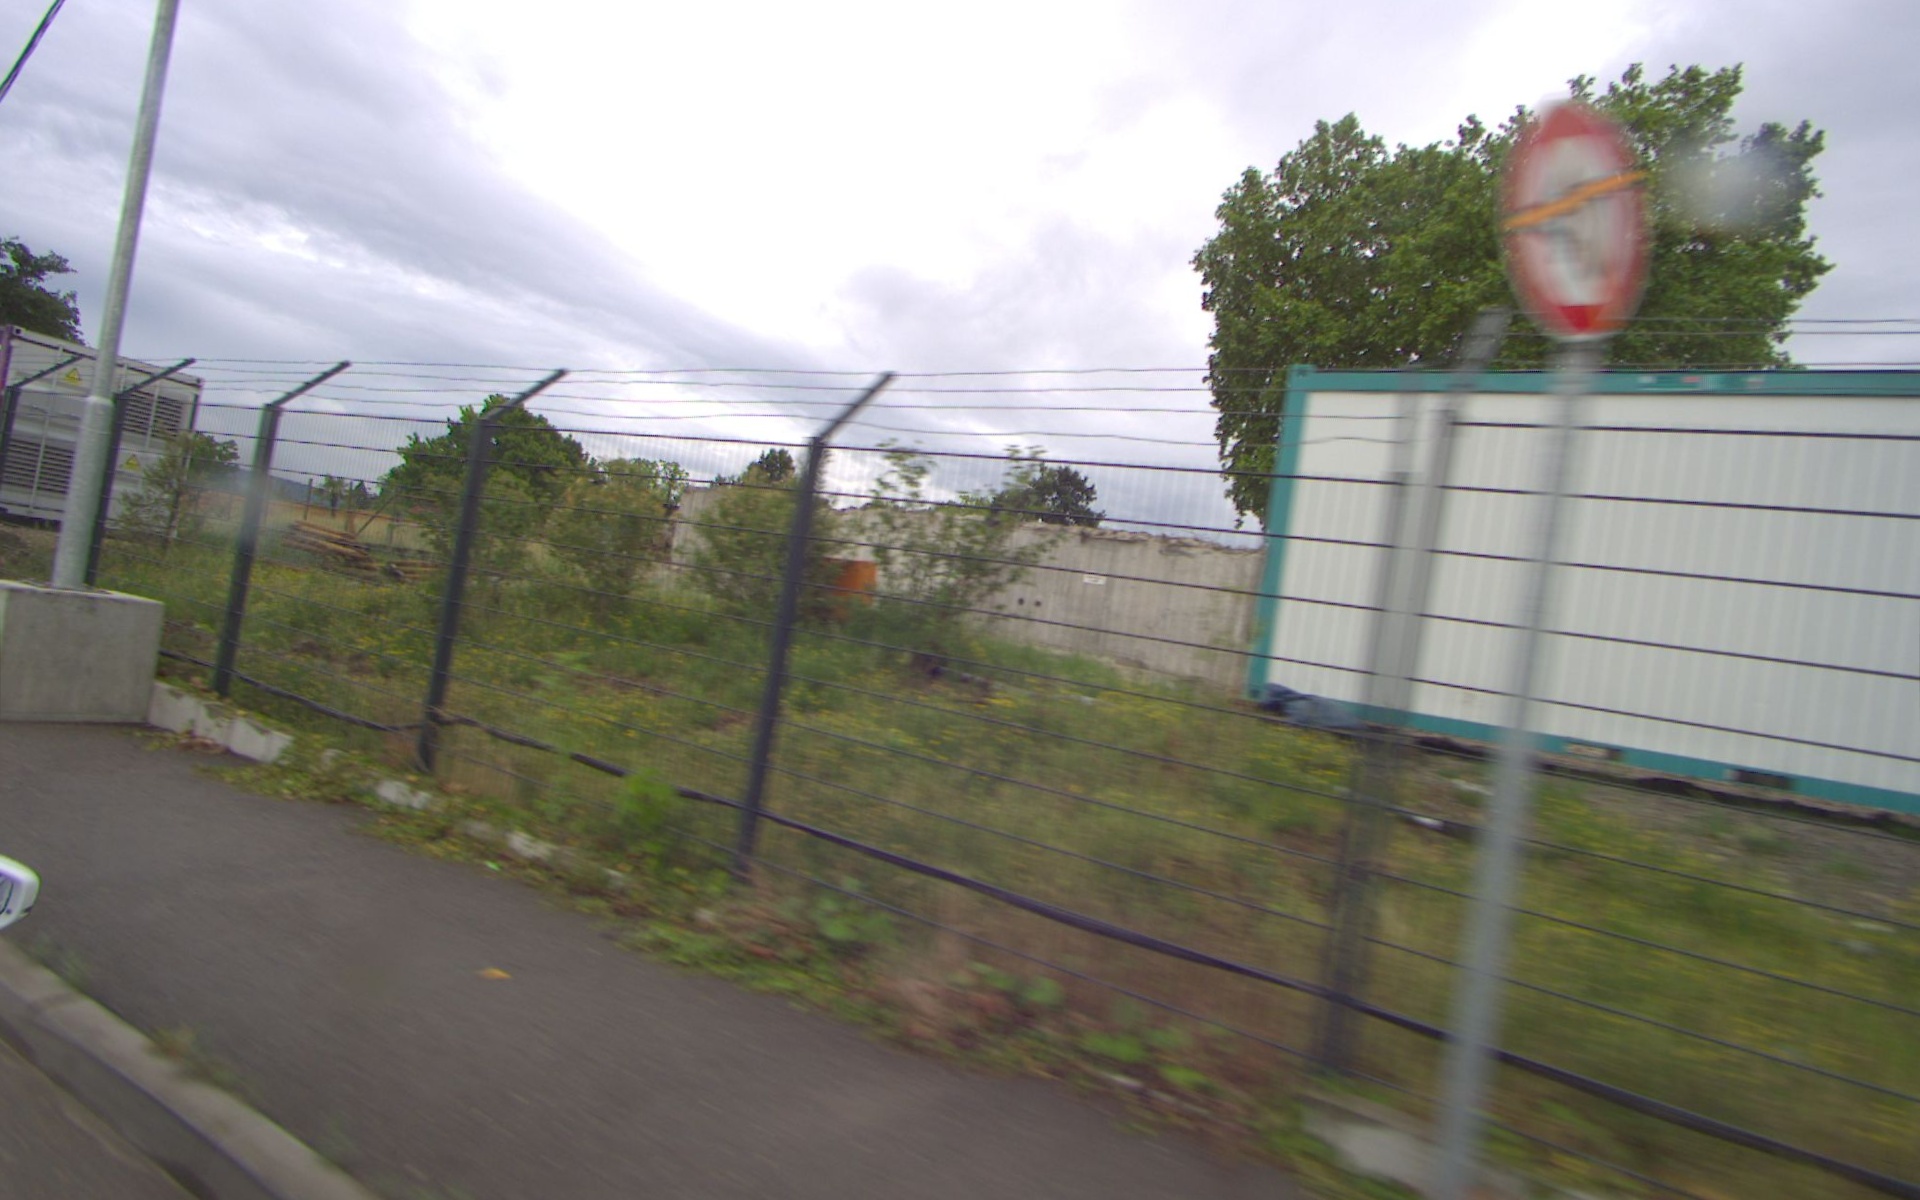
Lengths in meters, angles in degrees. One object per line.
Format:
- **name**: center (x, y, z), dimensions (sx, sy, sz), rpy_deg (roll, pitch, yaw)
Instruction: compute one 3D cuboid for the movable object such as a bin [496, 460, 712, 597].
- **movable object such as a bin**: center (-20.701, -3.989, 59.412), dimensions (3.442, 6.064, 11.226), rpy_deg (6, -2, 41)
